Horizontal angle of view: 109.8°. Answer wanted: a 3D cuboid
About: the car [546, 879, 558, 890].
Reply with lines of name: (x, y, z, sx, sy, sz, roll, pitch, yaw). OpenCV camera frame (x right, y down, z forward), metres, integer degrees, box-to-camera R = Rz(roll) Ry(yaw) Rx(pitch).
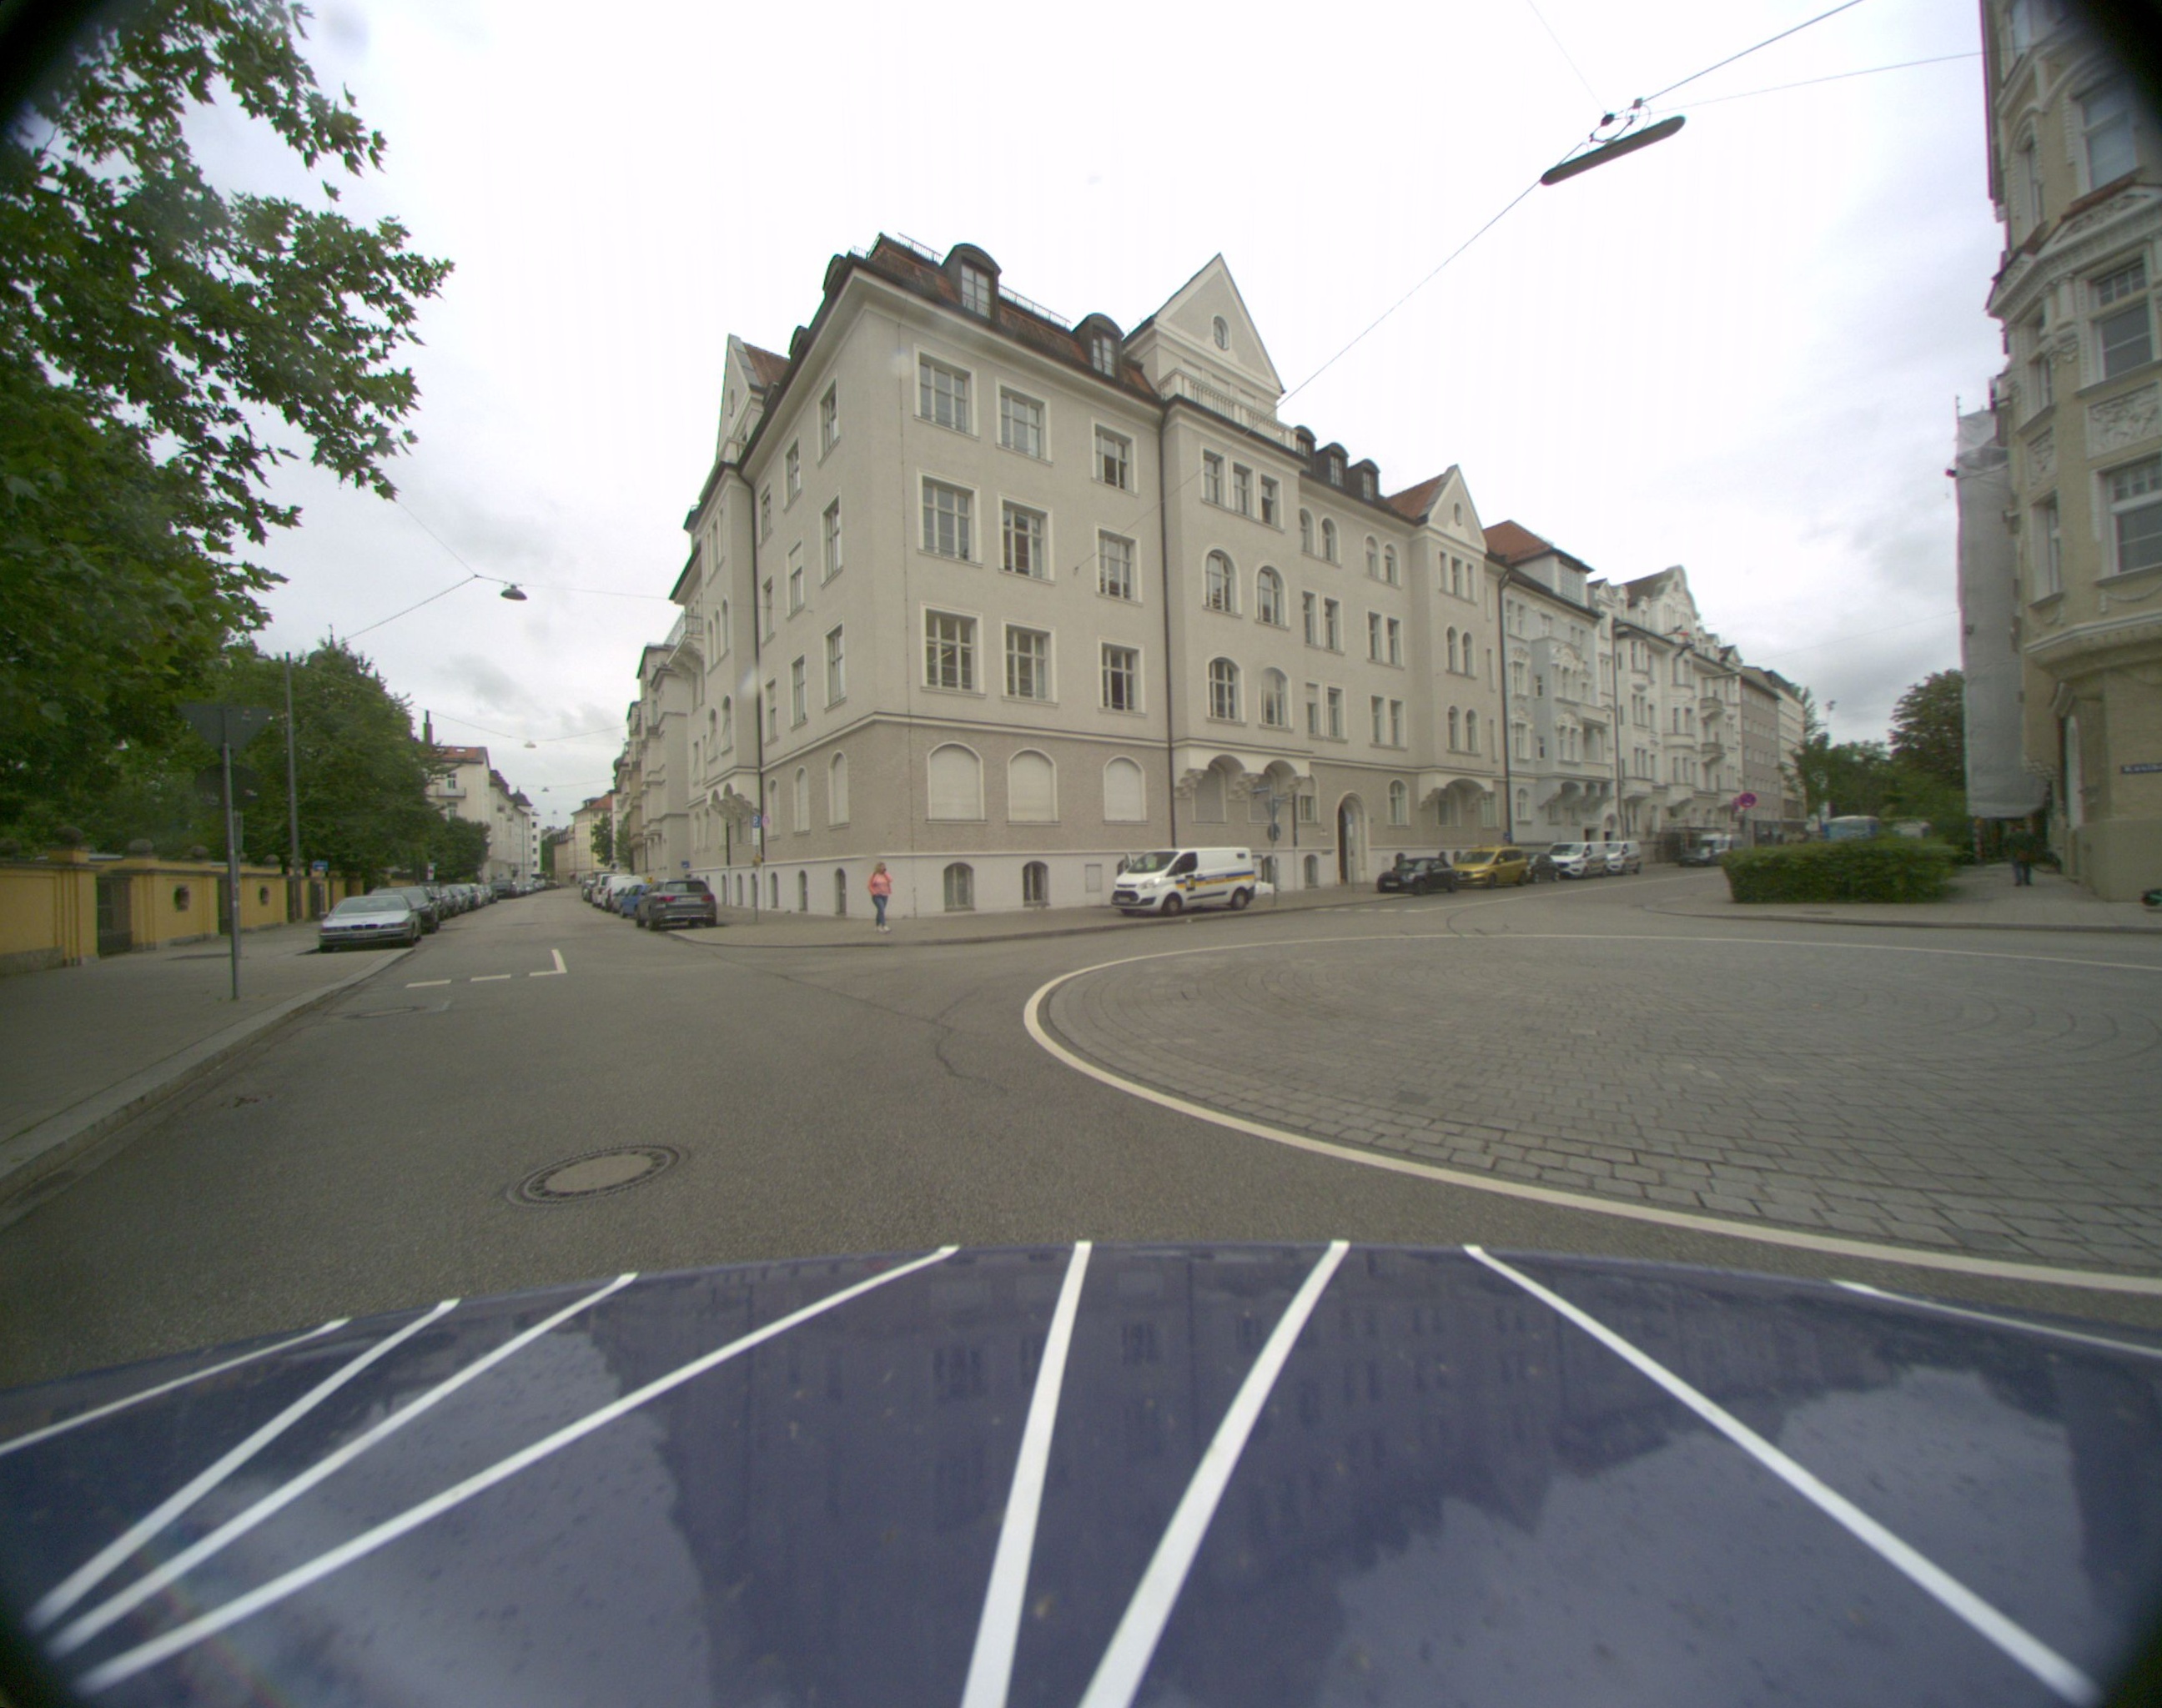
car: (-95.975, 5.563, 137.845, 1.778, 1.792, 4.333, -2, 0, -35)

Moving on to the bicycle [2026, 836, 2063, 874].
bicycle: (33.127, 0.023, 26.116, 1.706, 1.268, 0.745, -2, 0, -38)

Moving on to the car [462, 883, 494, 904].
car: (-45.582, 2.952, 57.486, 1.778, 1.436, 4.056, -2, 0, -37)

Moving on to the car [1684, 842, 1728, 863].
car: (46.265, -0.135, 56.209, 4.095, 1.426, 1.755, -2, 0, -40)

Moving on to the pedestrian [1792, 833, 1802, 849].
pedestrian: (82.877, -1.508, 87.970, 0.747, 1.723, 0.702, -2, 1, -38)

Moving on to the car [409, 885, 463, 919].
car: (-31.828, 2.320, 37.598, 1.778, 1.436, 4.392, -2, 0, -37)

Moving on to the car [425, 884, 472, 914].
car: (-34.337, 2.417, 41.320, 1.778, 1.436, 4.056, -2, 0, -37)

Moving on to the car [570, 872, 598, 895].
car: (-47.155, 2.789, 72.047, 1.896, 2.024, 4.410, -1, -1, -37)

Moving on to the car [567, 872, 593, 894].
car: (-50.076, 2.864, 75.847, 1.896, 2.024, 4.410, -1, -1, -37)

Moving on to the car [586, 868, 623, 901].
car: (-34.920, 2.194, 55.597, 1.896, 2.243, 4.410, -1, -1, -37)

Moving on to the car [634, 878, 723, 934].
car: (-13.288, 1.628, 24.953, 1.896, 1.606, 4.410, -1, -1, -37)

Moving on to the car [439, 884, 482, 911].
car: (-36.700, 2.534, 45.010, 1.778, 1.436, 4.056, -2, 0, -37)

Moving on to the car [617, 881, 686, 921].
car: (-17.717, 1.880, 31.243, 1.896, 1.455, 4.410, 0, -1, -37)

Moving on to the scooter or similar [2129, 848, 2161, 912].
scooter or similar: (20.505, 0.462, 14.085, 1.355, 1.159, 0.529, -2, 0, 1)

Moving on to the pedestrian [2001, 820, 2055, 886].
pedestrian: (26.658, -0.018, 21.381, 1.058, 1.799, 0.888, -2, 0, -37)

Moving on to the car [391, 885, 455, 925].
car: (-29.008, 2.207, 33.593, 1.828, 1.521, 4.392, -2, 0, -37)

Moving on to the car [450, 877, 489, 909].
car: (-39.790, 2.499, 49.503, 1.778, 1.874, 4.056, -2, 0, -37)

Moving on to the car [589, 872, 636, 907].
car: (-27.287, 2.016, 44.224, 1.896, 1.872, 4.410, -1, -1, -37)

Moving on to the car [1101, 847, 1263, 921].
car: (3.121, 0.797, 22.822, 4.936, 1.950, 1.917, -1, 1, -39)

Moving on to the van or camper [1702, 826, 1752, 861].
van or camper: (50.978, -0.847, 59.924, 5.468, 2.621, 1.955, -2, 0, -38)

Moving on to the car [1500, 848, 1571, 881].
car: (22.054, 0.485, 36.853, 3.790, 1.475, 1.633, -2, 0, -37)

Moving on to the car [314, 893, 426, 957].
car: (-19.258, 1.842, 20.766, 1.829, 1.394, 4.561, -1, 0, -38)

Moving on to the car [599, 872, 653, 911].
car: (-23.571, 1.900, 39.265, 1.896, 1.842, 4.410, -1, -1, -37)

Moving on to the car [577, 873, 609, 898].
car: (-40.850, 2.593, 63.568, 1.896, 2.024, 4.410, -1, -1, -37)

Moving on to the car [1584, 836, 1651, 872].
car: (31.462, -0.028, 44.506, 5.002, 2.002, 1.960, -2, 0, -40)

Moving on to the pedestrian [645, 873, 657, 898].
pedestrian: (-35.043, 2.539, 61.876, 0.712, 2.002, 0.707, -2, 0, -35)

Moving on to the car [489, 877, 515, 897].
car: (-54.932, 3.115, 72.123, 1.778, 1.792, 4.333, -2, 0, -35)

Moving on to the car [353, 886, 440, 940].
car: (-22.763, 1.896, 25.405, 1.829, 1.521, 4.561, -2, 0, -38)

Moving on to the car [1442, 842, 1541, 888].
car: (18.124, 0.455, 33.492, 4.829, 1.842, 1.852, -2, 0, -35)

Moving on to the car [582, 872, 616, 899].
car: (-37.862, 2.423, 59.588, 1.896, 2.024, 4.410, -1, -1, -37)

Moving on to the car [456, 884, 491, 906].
car: (-42.564, 2.842, 53.285, 1.778, 1.436, 4.056, -2, 0, -37)

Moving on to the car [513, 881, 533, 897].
car: (-69.206, 4.335, 94.289, 1.778, 1.792, 4.333, -2, 0, -35)

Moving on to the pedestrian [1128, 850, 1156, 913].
pedestrian: (1.883, 0.844, 23.409, 0.677, 1.876, 0.592, -2, 0, -9)

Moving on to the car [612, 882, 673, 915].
car: (-20.345, 2.024, 35.173, 1.896, 1.366, 4.410, 0, -1, -37)

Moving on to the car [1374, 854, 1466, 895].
car: (13.579, 0.799, 30.339, 3.903, 1.448, 1.665, -2, 0, -37)

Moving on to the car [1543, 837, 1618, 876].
car: (26.699, 0.124, 40.548, 5.002, 1.926, 1.960, -2, 0, -40)

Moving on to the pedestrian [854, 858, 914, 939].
pedestrian: (-4.849, 1.057, 18.657, 1.213, 1.862, 1.089, -2, 0, -24)

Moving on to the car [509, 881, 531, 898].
car: (-63.000, 3.935, 85.344, 1.778, 1.792, 4.333, -2, 0, -35)
